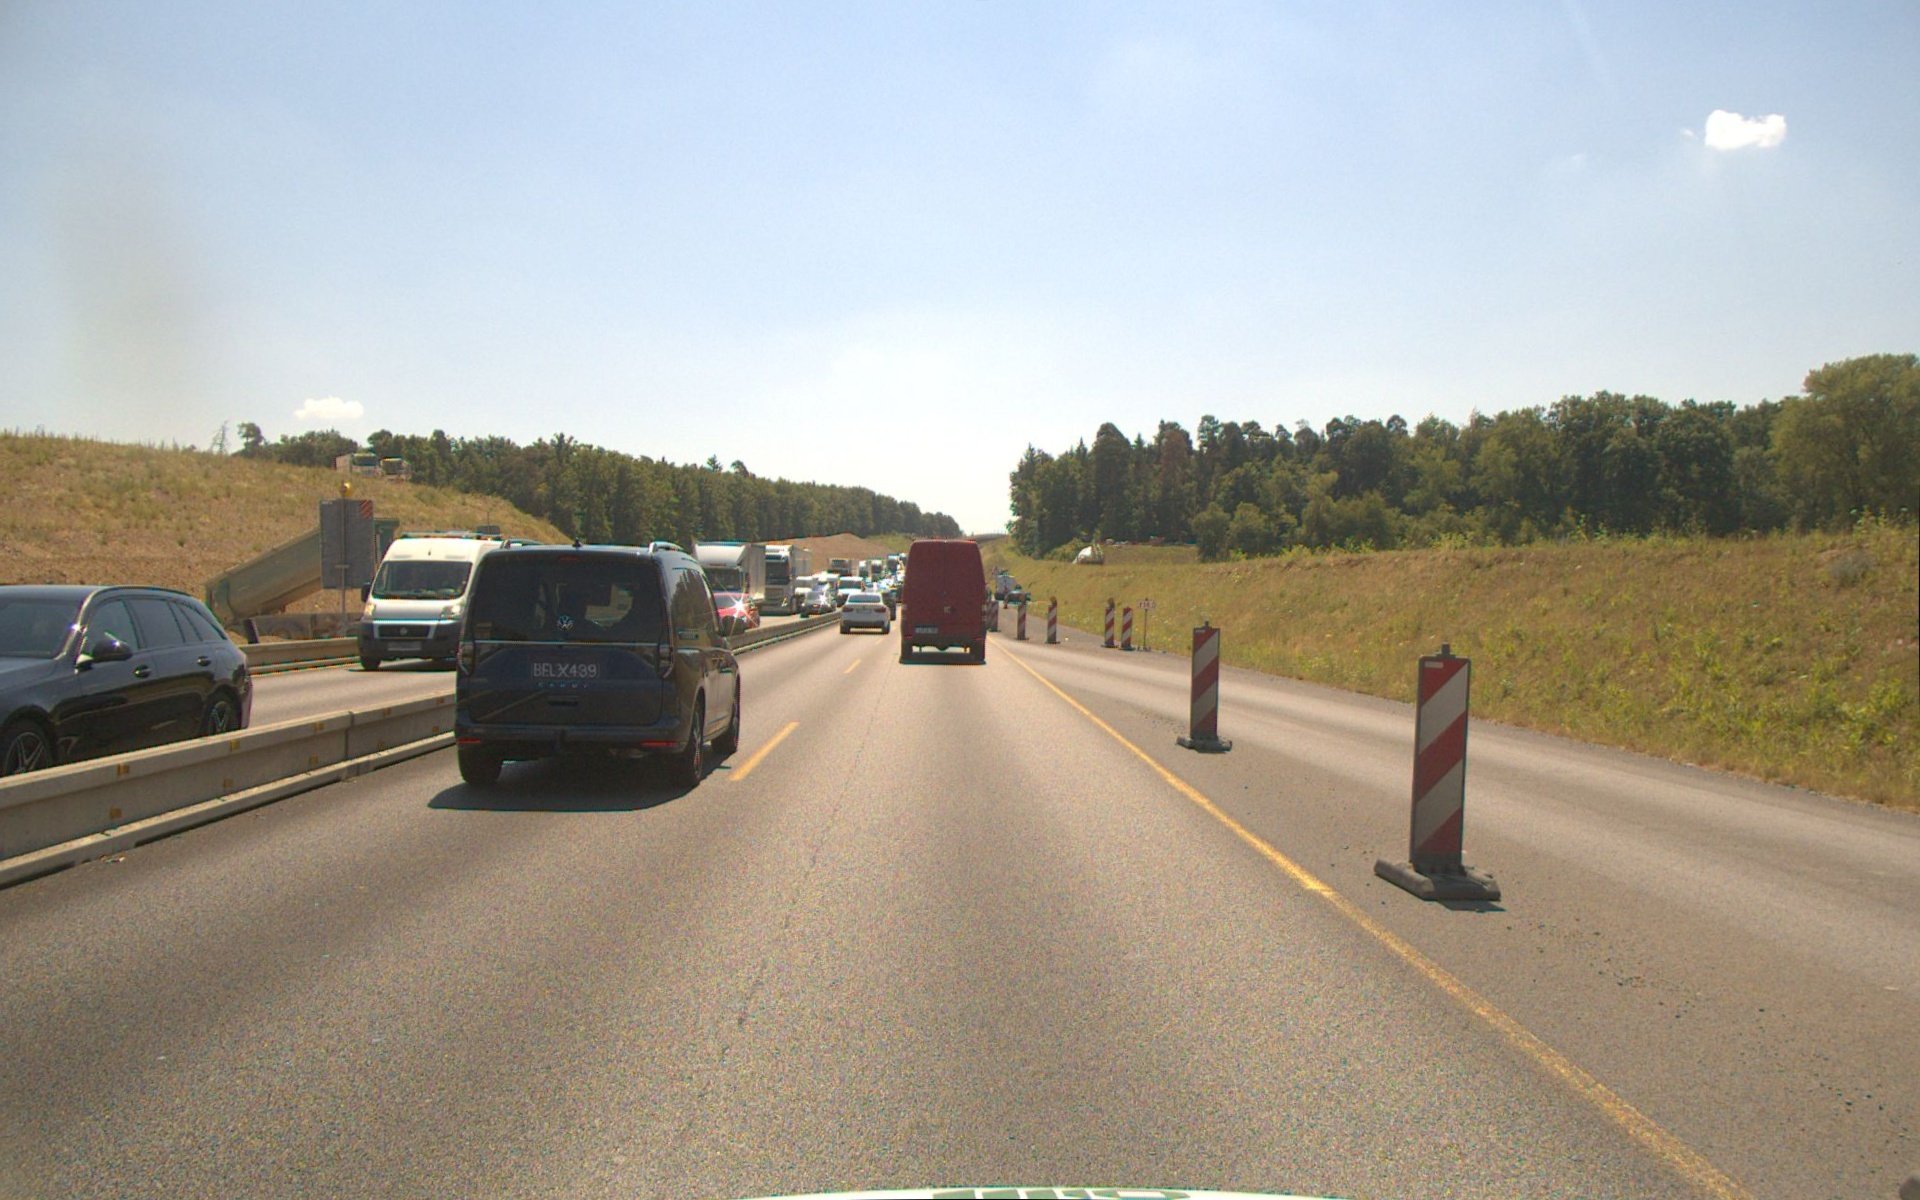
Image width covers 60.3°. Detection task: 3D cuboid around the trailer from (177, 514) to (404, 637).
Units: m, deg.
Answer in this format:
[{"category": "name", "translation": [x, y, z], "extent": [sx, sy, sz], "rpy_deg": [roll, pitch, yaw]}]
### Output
[{"category": "trailer", "translation": [-24.011, -0.872, 59.226], "extent": [8.180, 4.170, 2.797], "rpy_deg": [1, 0, 27]}]

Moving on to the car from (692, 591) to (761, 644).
[{"category": "car", "translation": [-7.131, 0.524, 50.862], "extent": [1.594, 1.510, 4.052], "rpy_deg": [1, 0, -1]}]

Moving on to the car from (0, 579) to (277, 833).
[{"category": "car", "translation": [-6.601, 0.620, 11.614], "extent": [1.752, 1.508, 4.560], "rpy_deg": [1, 0, -1]}]

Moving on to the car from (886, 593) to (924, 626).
[{"category": "car", "translation": [-2.875, 0.481, 87.225], "extent": [1.927, 1.568, 4.310], "rpy_deg": [1, 1, -1]}]

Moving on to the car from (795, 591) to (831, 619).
[{"category": "car", "translation": [-8.150, 0.268, 91.988], "extent": [1.820, 1.467, 4.498], "rpy_deg": [1, 0, -3]}]

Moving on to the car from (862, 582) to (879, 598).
[{"category": "car", "translation": [-9.628, -1.042, 177.468], "extent": [1.654, 1.642, 4.592], "rpy_deg": [1, 0, -1]}]

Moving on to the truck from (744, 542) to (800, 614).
[{"category": "truck", "translation": [-10.956, -1.250, 96.888], "extent": [2.791, 4.088, 4.858], "rpy_deg": [-1, 0, -1]}]

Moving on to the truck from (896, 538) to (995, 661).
[{"category": "truck", "translation": [-0.388, 0.001, 38.673], "extent": [2.109, 2.635, 5.331], "rpy_deg": [1, 0, -2]}]

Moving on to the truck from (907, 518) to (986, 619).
[{"category": "truck", "translation": [-0.895, -1.739, 101.029], "extent": [4.311, 5.592, 16.599], "rpy_deg": [1, 0, -1]}]

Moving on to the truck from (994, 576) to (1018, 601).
[{"category": "truck", "translation": [4.903, -1.223, 175.593], "extent": [2.085, 2.499, 5.930], "rpy_deg": [1, 1, 6]}]

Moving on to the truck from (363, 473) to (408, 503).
[{"category": "truck", "translation": [-64.728, -12.586, 186.339], "extent": [2.277, 2.797, 8.792], "rpy_deg": [1, 0, -36]}]

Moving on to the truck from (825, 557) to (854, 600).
[{"category": "truck", "translation": [-12.409, -2.188, 170.648], "extent": [2.440, 4.272, 5.913], "rpy_deg": [-1, 0, 1]}]

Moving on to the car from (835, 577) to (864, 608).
[{"category": "car", "translation": [-8.498, -0.591, 127.778], "extent": [1.953, 2.332, 5.342], "rpy_deg": [1, 1, -2]}]

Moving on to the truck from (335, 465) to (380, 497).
[{"category": "truck", "translation": [-65.043, -12.790, 178.421], "extent": [2.336, 2.949, 8.260], "rpy_deg": [1, 0, -36]}]

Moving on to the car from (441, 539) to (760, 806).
[{"category": "car", "translation": [-2.834, 0.481, 14.112], "extent": [1.716, 1.856, 4.782], "rpy_deg": [1, 1, -1]}]

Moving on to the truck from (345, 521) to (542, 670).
[{"category": "truck", "translation": [-10.061, -0.169, 32.813], "extent": [2.056, 2.614, 6.353], "rpy_deg": [2, 1, -2]}]

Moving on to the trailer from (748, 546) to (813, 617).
[{"category": "trailer", "translation": [-11.157, -1.057, 104.064], "extent": [2.796, 4.165, 13.649], "rpy_deg": [-1, 0, -1]}]

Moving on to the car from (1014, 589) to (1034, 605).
[{"category": "car", "translation": [6.056, -0.301, 157.505], "extent": [1.620, 1.451, 4.545], "rpy_deg": [-2, 1, 0]}]

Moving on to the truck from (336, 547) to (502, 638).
[{"category": "truck", "translation": [-19.018, -0.215, 58.223], "extent": [5.008, 3.016, 2.553], "rpy_deg": [2, -1, -37]}]

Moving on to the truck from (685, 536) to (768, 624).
[{"category": "truck", "translation": [-10.671, -0.852, 76.526], "extent": [2.591, 3.781, 9.480], "rpy_deg": [1, 0, -1]}]

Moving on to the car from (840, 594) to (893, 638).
[{"category": "car", "translation": [-3.435, 0.579, 61.335], "extent": [1.794, 1.548, 3.960], "rpy_deg": [1, 0, -1]}]
